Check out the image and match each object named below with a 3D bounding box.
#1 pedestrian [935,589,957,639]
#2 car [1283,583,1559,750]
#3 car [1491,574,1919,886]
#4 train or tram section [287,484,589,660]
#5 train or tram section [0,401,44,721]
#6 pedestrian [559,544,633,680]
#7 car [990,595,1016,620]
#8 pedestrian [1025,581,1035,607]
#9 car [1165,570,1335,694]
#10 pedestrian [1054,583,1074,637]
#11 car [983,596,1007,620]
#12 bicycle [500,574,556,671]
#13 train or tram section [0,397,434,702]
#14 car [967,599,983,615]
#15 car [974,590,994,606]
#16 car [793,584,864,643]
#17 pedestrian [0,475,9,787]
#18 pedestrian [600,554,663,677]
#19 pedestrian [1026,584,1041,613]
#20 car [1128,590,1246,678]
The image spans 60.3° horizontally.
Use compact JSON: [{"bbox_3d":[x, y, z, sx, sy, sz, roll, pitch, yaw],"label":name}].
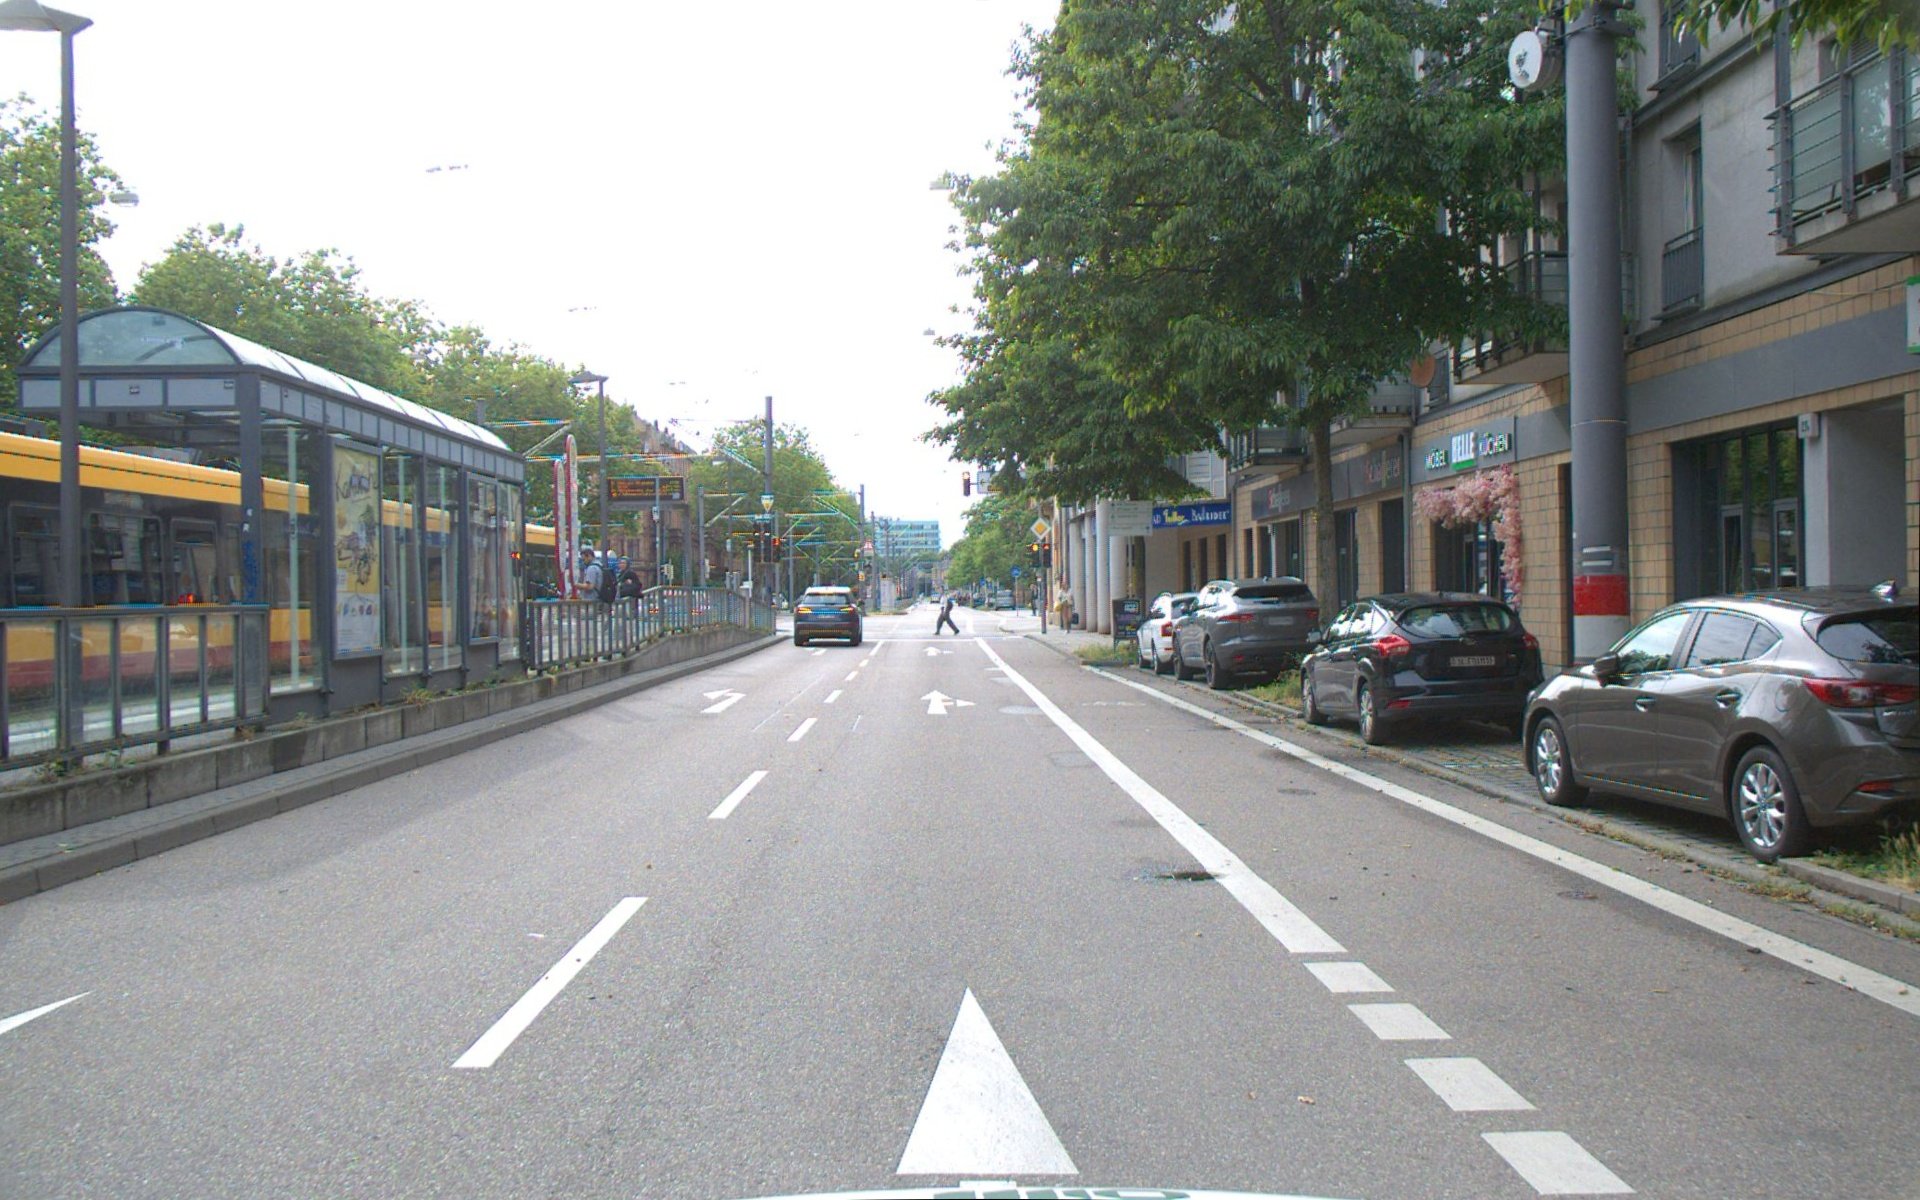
[{"bbox_3d":[-0.473,0.473,56.681,0.713,1.690,0.756,1,-1,-1],"label":"pedestrian"},{"bbox_3d":[4.728,0.629,17.612,1.642,1.467,4.407,-3,0,0],"label":"car"},{"bbox_3d":[5.050,0.631,10.386,1.762,1.480,4.386,-3,0,-3],"label":"car"},{"bbox_3d":[-12.726,-0.556,42.626,2.998,3.651,15.845,1,0,-1],"label":"train or tram section"},{"bbox_3d":[-12.161,-0.482,11.775,2.998,3.593,15.290,1,0,-1],"label":"train or tram section"},{"bbox_3d":[-5.586,0.181,25.411,0.737,2.049,0.818,1,-1,22],"label":"pedestrian"},{"bbox_3d":[3.556,0.598,137.592,1.953,2.049,3.999,1,0,-1],"label":"car"},{"bbox_3d":[4.207,-0.385,99.999,0.535,1.564,0.465,1,-1,-5],"label":"pedestrian"},{"bbox_3d":[4.606,0.488,26.971,1.677,1.747,4.709,-3,0,-3],"label":"car"},{"bbox_3d":[3.576,0.342,56.710,0.603,1.837,0.737,-1,0,0],"label":"pedestrian"},{"bbox_3d":[3.099,0.742,147.016,1.953,2.049,3.999,1,0,-1],"label":"car"},{"bbox_3d":[-5.740,0.290,22.007,0.410,1.243,1.289,1,0,-1],"label":"bicycle"},{"bbox_3d":[-12.434,-0.587,27.083,2.998,3.593,15.290,1,0,-1],"label":"train or tram section"},{"bbox_3d":[1.996,0.914,219.769,1.953,2.049,3.999,1,0,-1],"label":"car"},{"bbox_3d":[2.526,-0.221,175.828,1.953,1.635,4.163,-2,0,-1],"label":"car"},{"bbox_3d":[-3.778,0.380,48.043,1.842,1.629,4.355,0,0,-2],"label":"car"},{"bbox_3d":[-5.348,0.161,8.464,0.501,1.661,0.730,1,-1,0],"label":"pedestrian"},{"bbox_3d":[-5.597,0.264,28.142,0.747,2.049,0.807,1,-1,-38],"label":"pedestrian"},{"bbox_3d":[4.361,-0.090,97.718,0.834,1.683,0.508,1,-1,-3],"label":"pedestrian"},{"bbox_3d":[4.385,0.631,32.518,1.642,1.525,4.389,-3,0,0],"label":"car"}]
